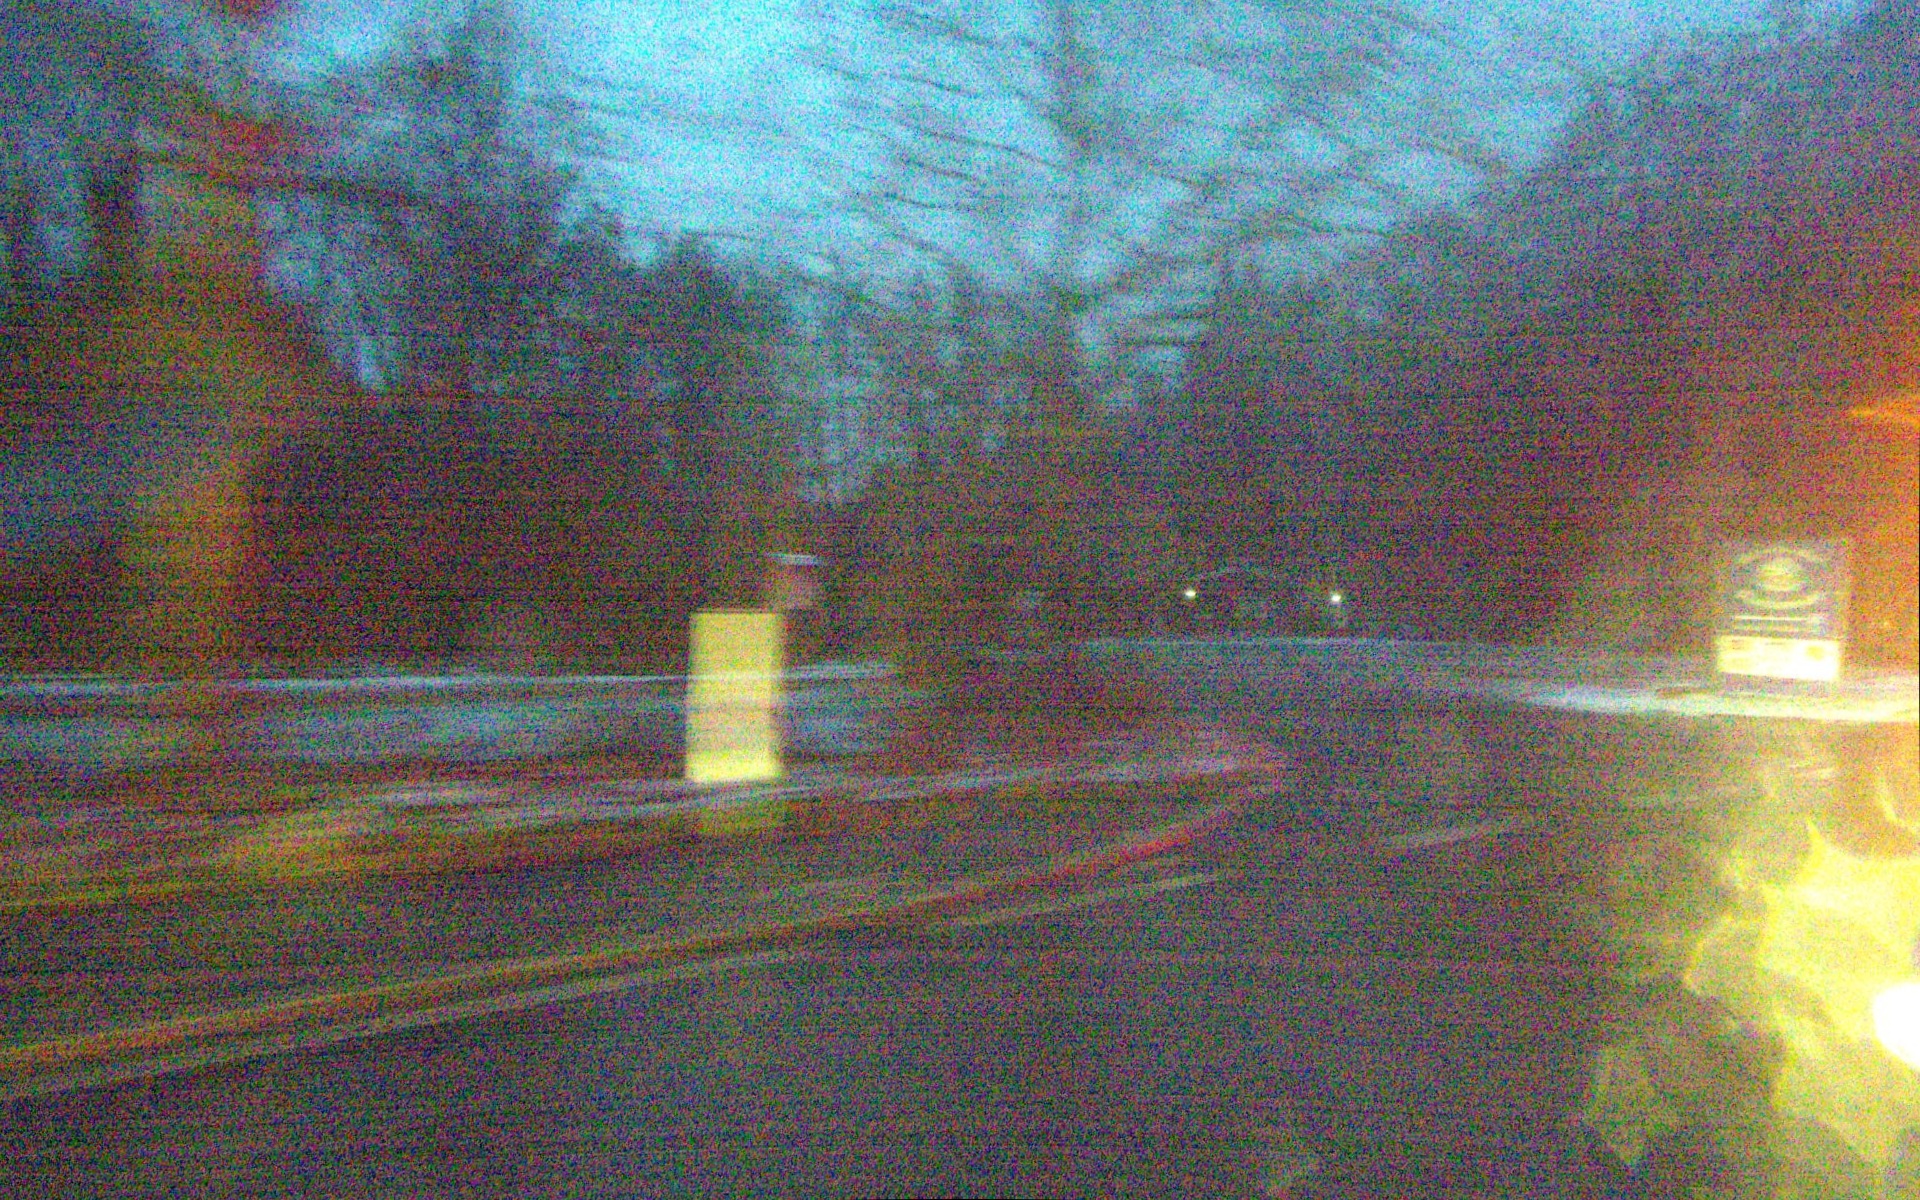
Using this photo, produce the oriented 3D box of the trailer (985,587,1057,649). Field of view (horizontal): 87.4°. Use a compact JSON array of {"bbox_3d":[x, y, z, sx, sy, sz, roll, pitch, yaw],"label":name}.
[{"bbox_3d":[2.323,0.755,39.210,1.939,2.247,3.804,2,-2,-10],"label":"trailer"}]
